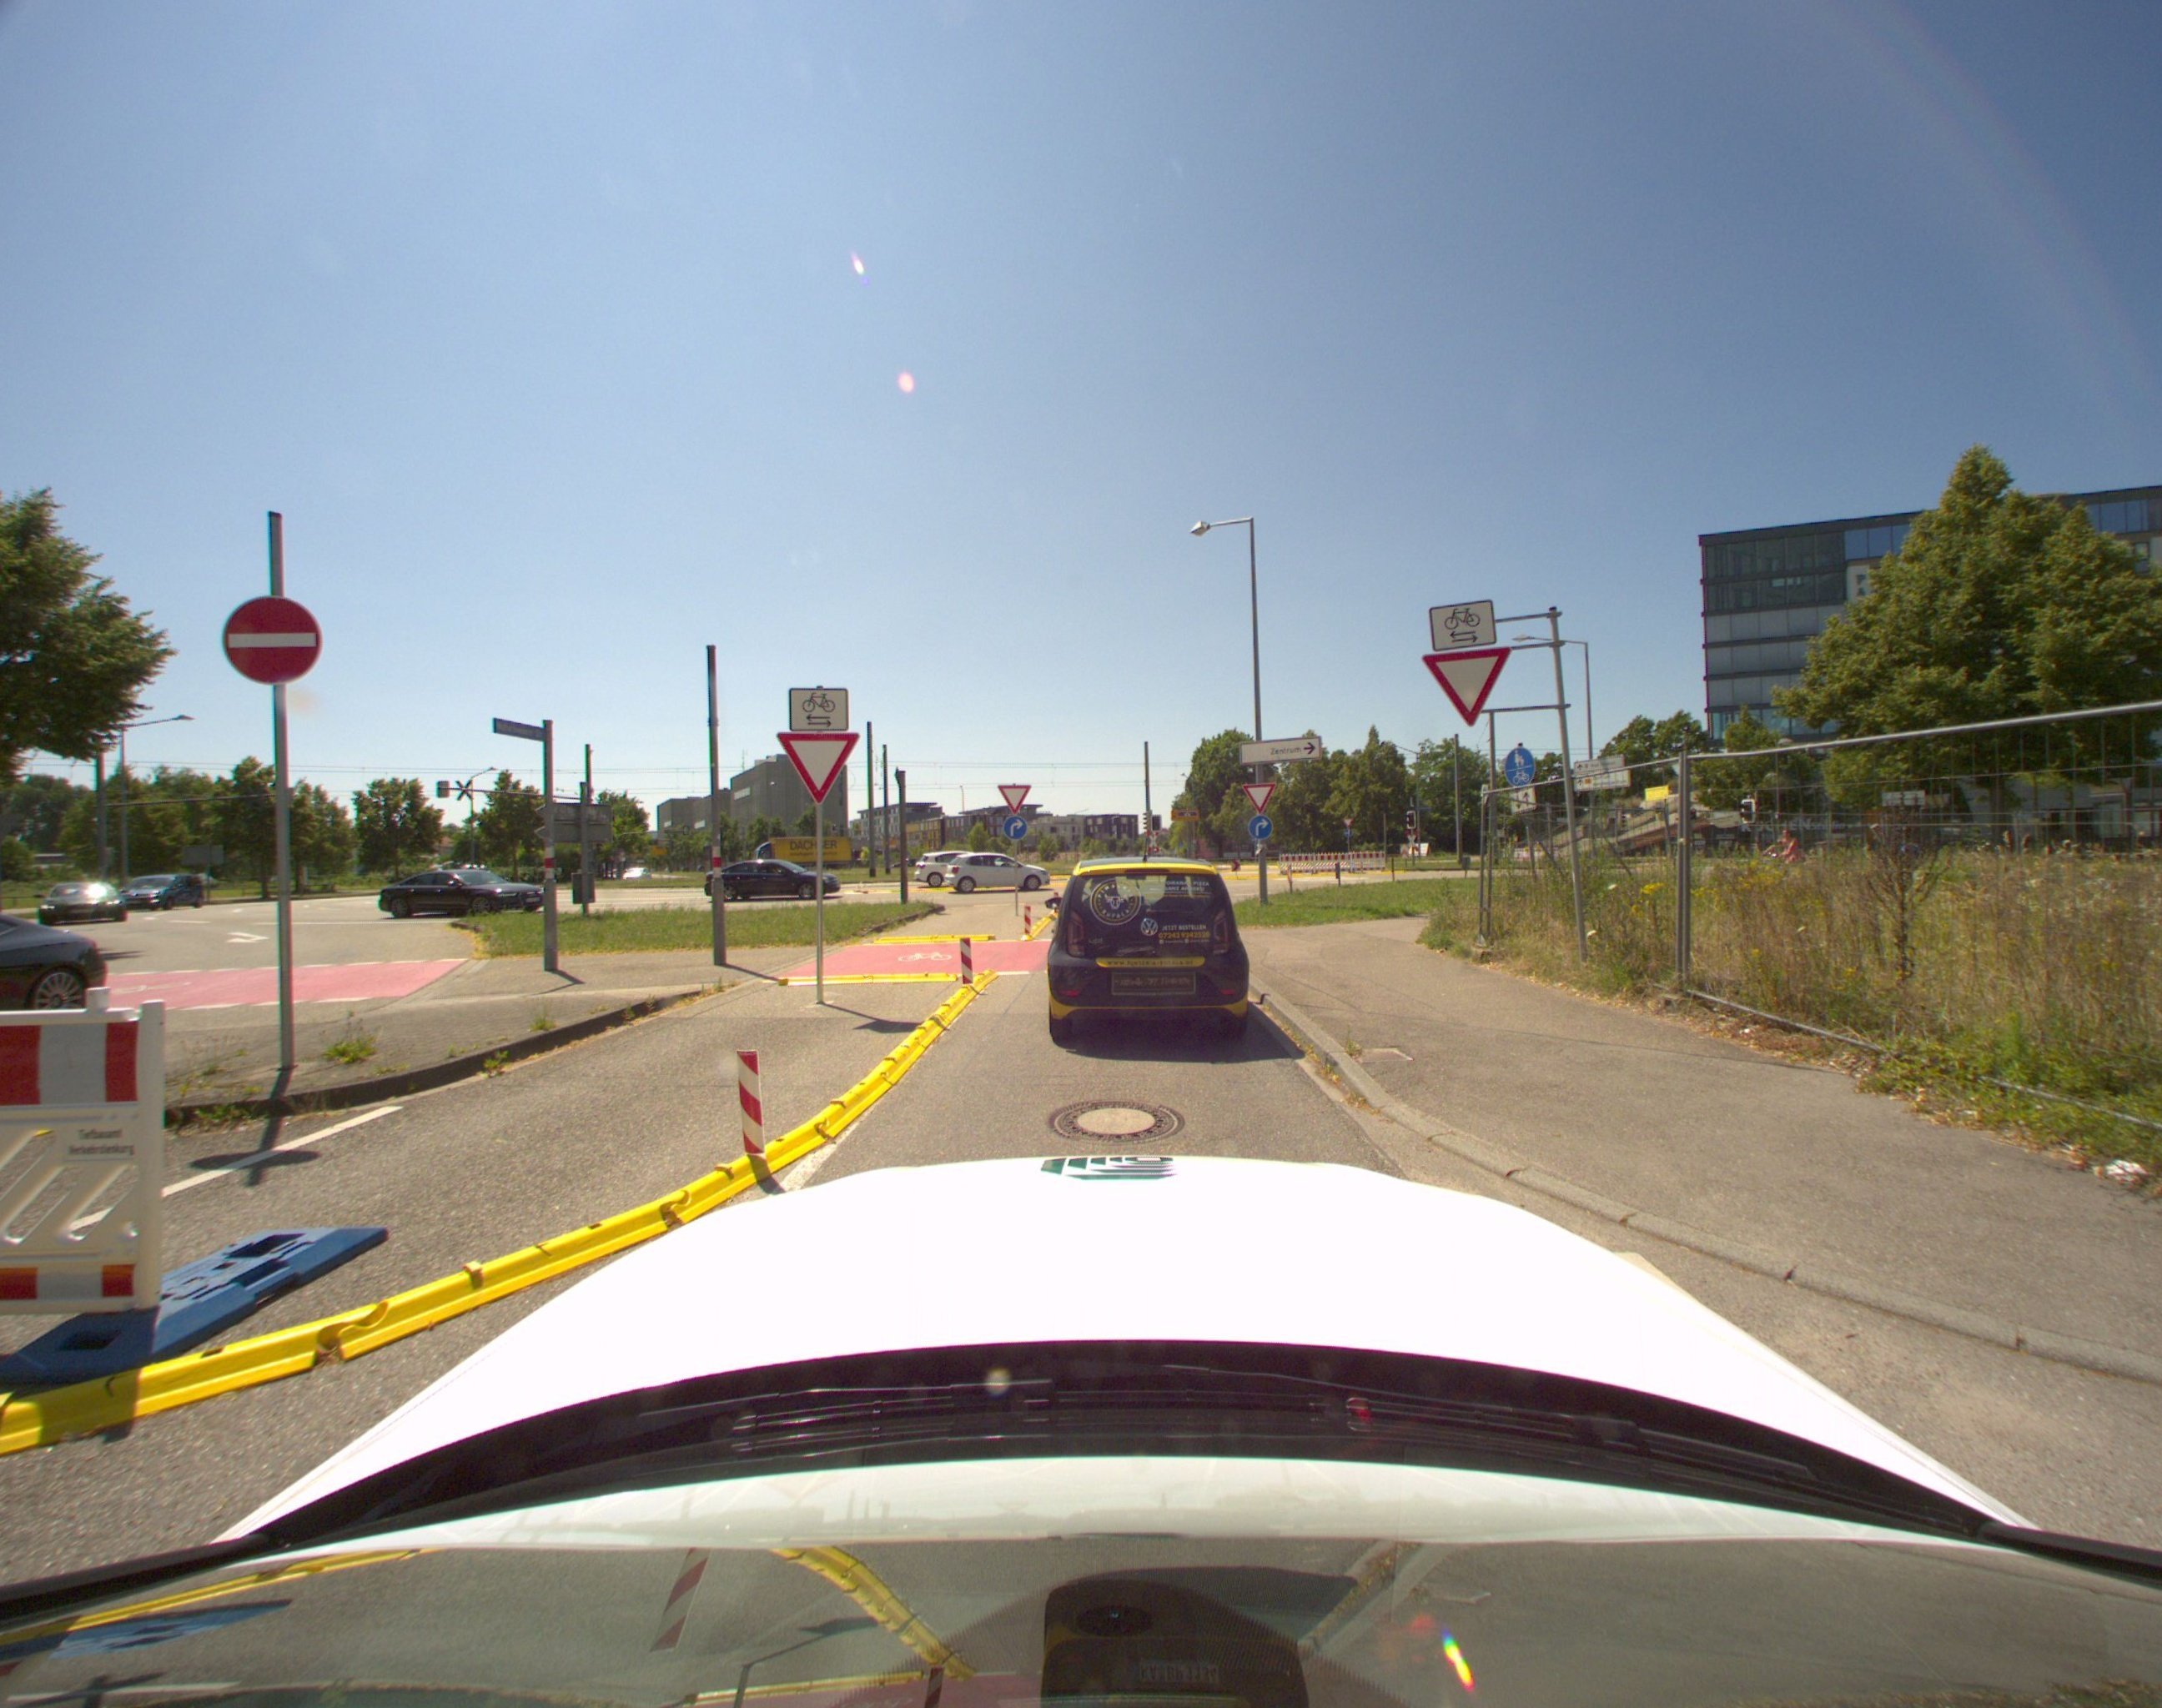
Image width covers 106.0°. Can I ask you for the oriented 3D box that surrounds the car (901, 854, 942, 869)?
[{"bbox_3d":[-16.108,0.766,82.456,4.036,1.461,1.723,-1,0,-11],"label":"car"}]

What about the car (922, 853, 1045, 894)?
[{"bbox_3d":[-3.699,0.698,30.902,4.351,1.449,1.845,0,0,-19],"label":"car"}]

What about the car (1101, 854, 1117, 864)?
[{"bbox_3d":[4.060,0.665,118.529,1.756,1.344,3.332,-1,0,11],"label":"car"}]

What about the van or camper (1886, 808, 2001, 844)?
[{"bbox_3d":[74.562,-2.385,70.513,6.720,2.822,2.391,-1,0,11],"label":"van or camper"}]

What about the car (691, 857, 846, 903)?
[{"bbox_3d":[-11.119,0.888,29.228,4.730,1.449,1.999,-2,0,-2],"label":"car"}]

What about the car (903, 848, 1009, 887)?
[{"bbox_3d":[-5.345,0.560,35.031,4.351,1.486,1.994,-2,0,-9],"label":"car"}]

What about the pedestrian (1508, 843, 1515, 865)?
[{"bbox_3d":[34.815,-0.005,65.844,0.444,1.739,0.319,-1,0,13],"label":"pedestrian"}]

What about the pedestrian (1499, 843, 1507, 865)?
[{"bbox_3d":[34.189,0.000,65.974,0.444,1.739,0.292,-1,0,13],"label":"pedestrian"}]

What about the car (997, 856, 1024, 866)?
[{"bbox_3d":[-8.081,0.808,93.462,2.901,1.155,1.194,-1,0,-27],"label":"car"}]

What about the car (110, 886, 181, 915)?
[{"bbox_3d":[-44.895,2.213,39.162,1.653,1.227,3.223,-1,0,-38],"label":"car"}]

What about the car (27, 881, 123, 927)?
[{"bbox_3d":[-35.299,1.705,28.553,4.558,1.412,1.734,-2,0,34],"label":"car"}]

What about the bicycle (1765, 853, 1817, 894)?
[{"bbox_3d":[19.991,0.545,22.920,2.095,1.058,0.435,-2,-1,-31],"label":"bicycle"}]

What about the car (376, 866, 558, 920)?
[{"bbox_3d":[-19.409,1.221,25.821,4.604,1.449,2.007,-2,-1,12],"label":"car"}]

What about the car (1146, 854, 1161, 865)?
[{"bbox_3d":[8.736,0.658,98.467,1.649,1.372,3.038,-1,0,7],"label":"car"}]

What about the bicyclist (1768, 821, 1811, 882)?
[{"bbox_3d":[19.988,-0.061,22.984,0.712,1.664,0.640,-1,-2,-30],"label":"bicyclist"}]

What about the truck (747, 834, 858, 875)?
[{"bbox_3d":[-26.678,-0.038,78.307,9.650,3.659,2.680,-2,0,-32],"label":"truck"}]

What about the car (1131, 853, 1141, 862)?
[{"bbox_3d":[9.406,0.556,139.451,1.512,1.393,3.289,-1,0,7],"label":"car"}]

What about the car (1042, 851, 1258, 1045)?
[{"bbox_3d":[0.572,0.707,8.117,1.612,1.451,3.988,0,0,1],"label":"car"}]

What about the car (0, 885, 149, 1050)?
[{"bbox_3d":[-10.199,1.052,6.384,1.823,1.403,4.600,-3,0,-21],"label":"car"}]
